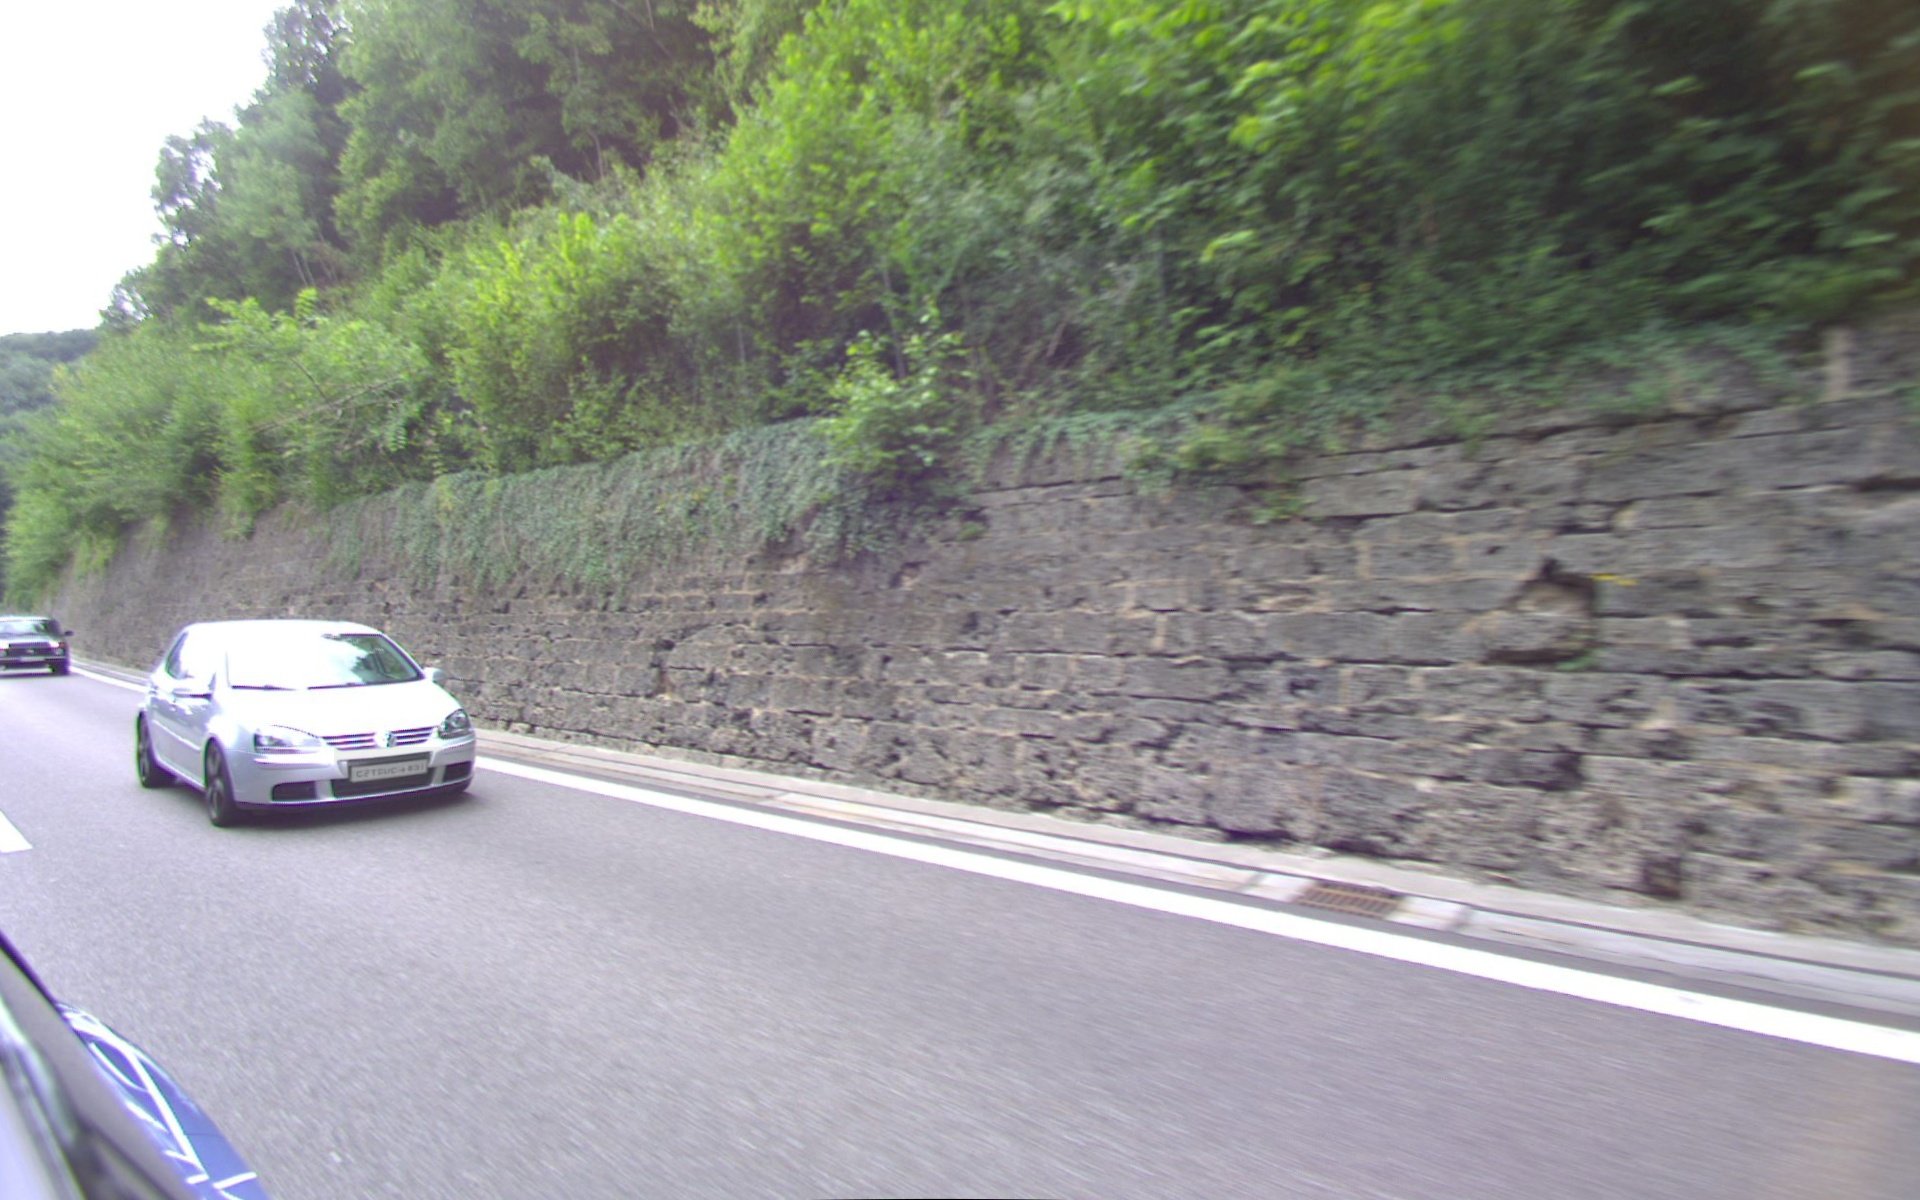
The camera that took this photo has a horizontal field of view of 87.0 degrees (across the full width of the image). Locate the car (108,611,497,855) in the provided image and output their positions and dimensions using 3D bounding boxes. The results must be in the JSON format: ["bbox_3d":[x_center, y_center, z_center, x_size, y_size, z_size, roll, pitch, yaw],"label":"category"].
[{"bbox_3d":[-5.788,0.902,8.638,4.582,1.526,1.663,-1,0,42],"label":"car"}]

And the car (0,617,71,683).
[{"bbox_3d":[-26.149,1.348,28.238,1.787,1.668,4.587,-1,0,-44],"label":"car"}]
